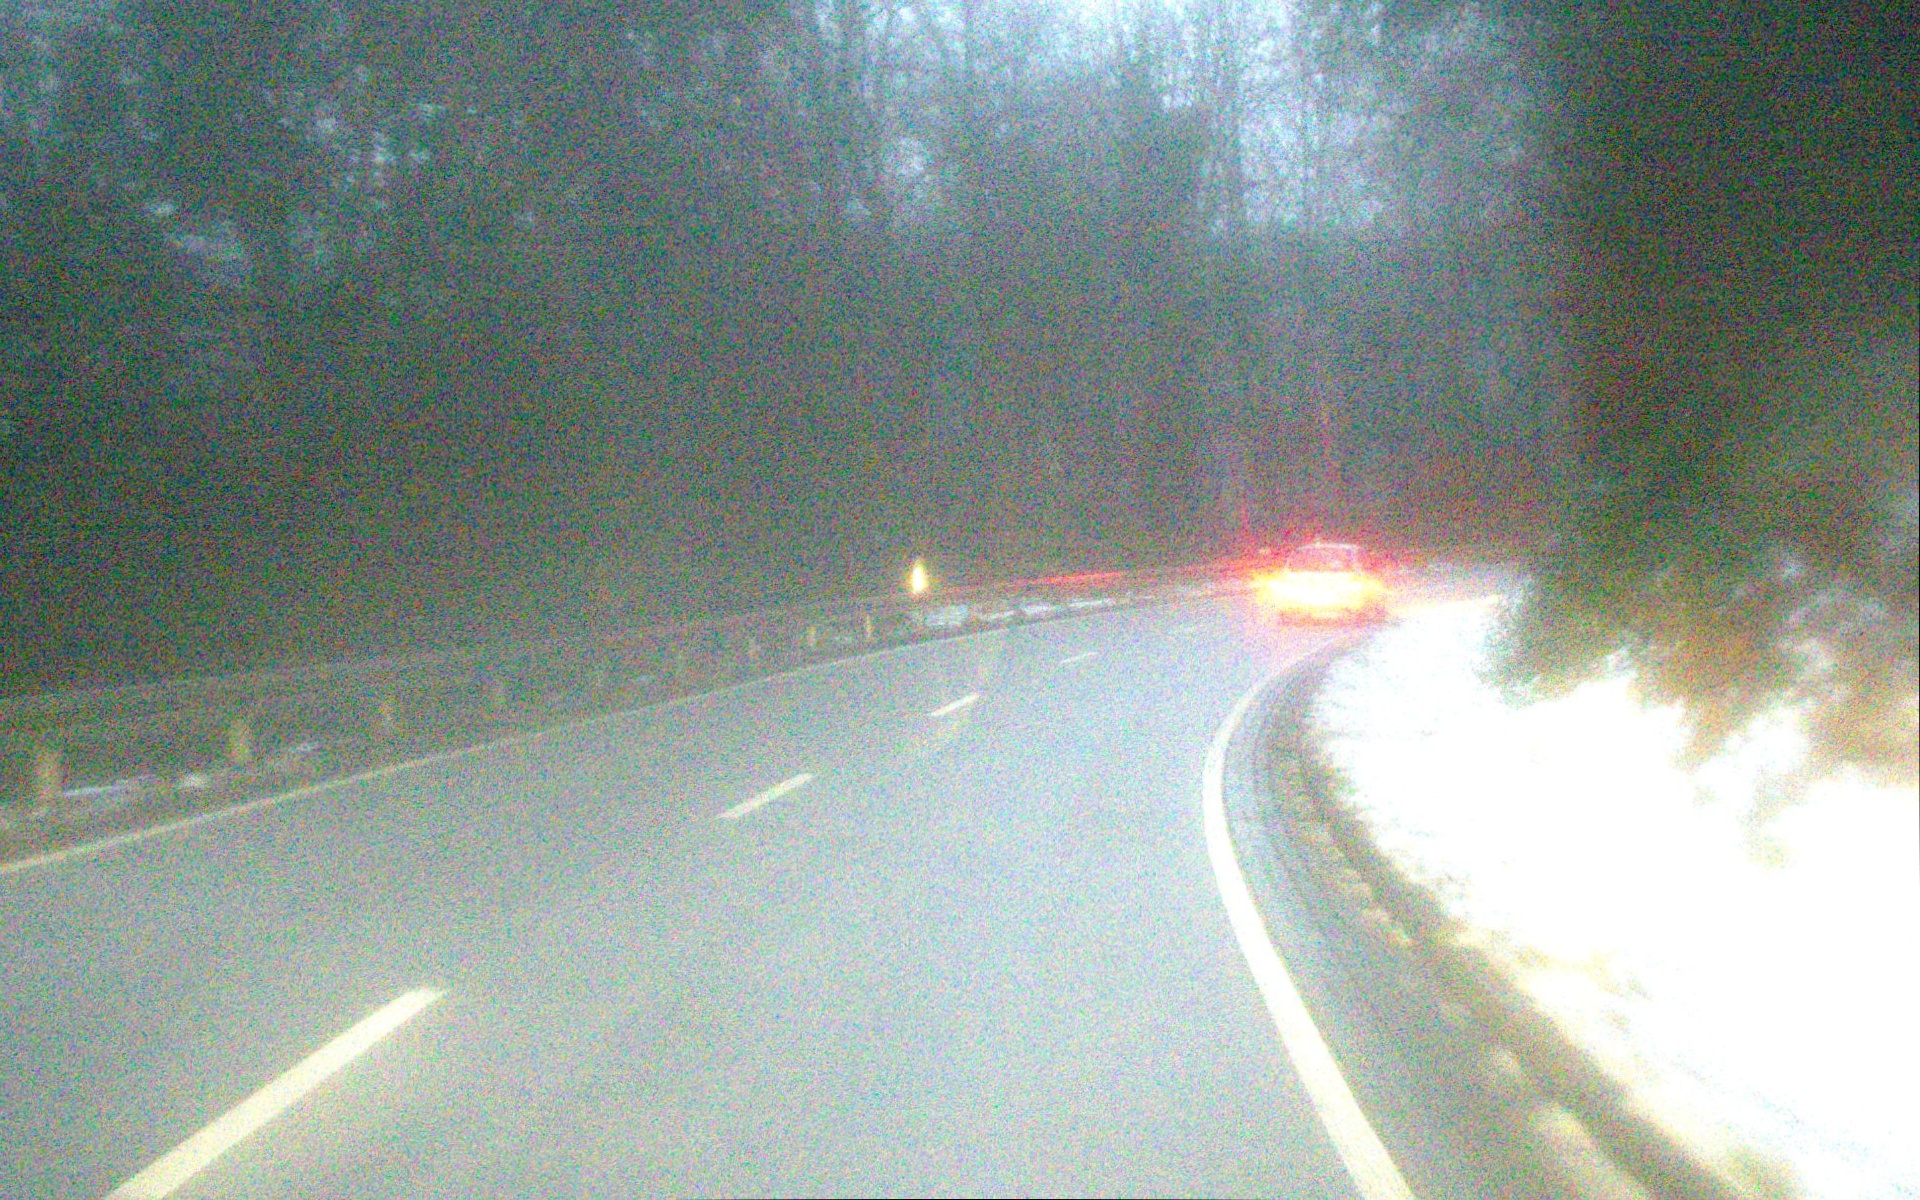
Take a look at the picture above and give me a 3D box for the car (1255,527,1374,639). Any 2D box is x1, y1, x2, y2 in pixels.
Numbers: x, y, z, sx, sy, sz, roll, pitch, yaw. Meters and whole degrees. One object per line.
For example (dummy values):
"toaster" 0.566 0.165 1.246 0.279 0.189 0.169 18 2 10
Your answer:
"car" 6.409 -0.340 62.456 1.994 1.866 4.000 -3 1 5
